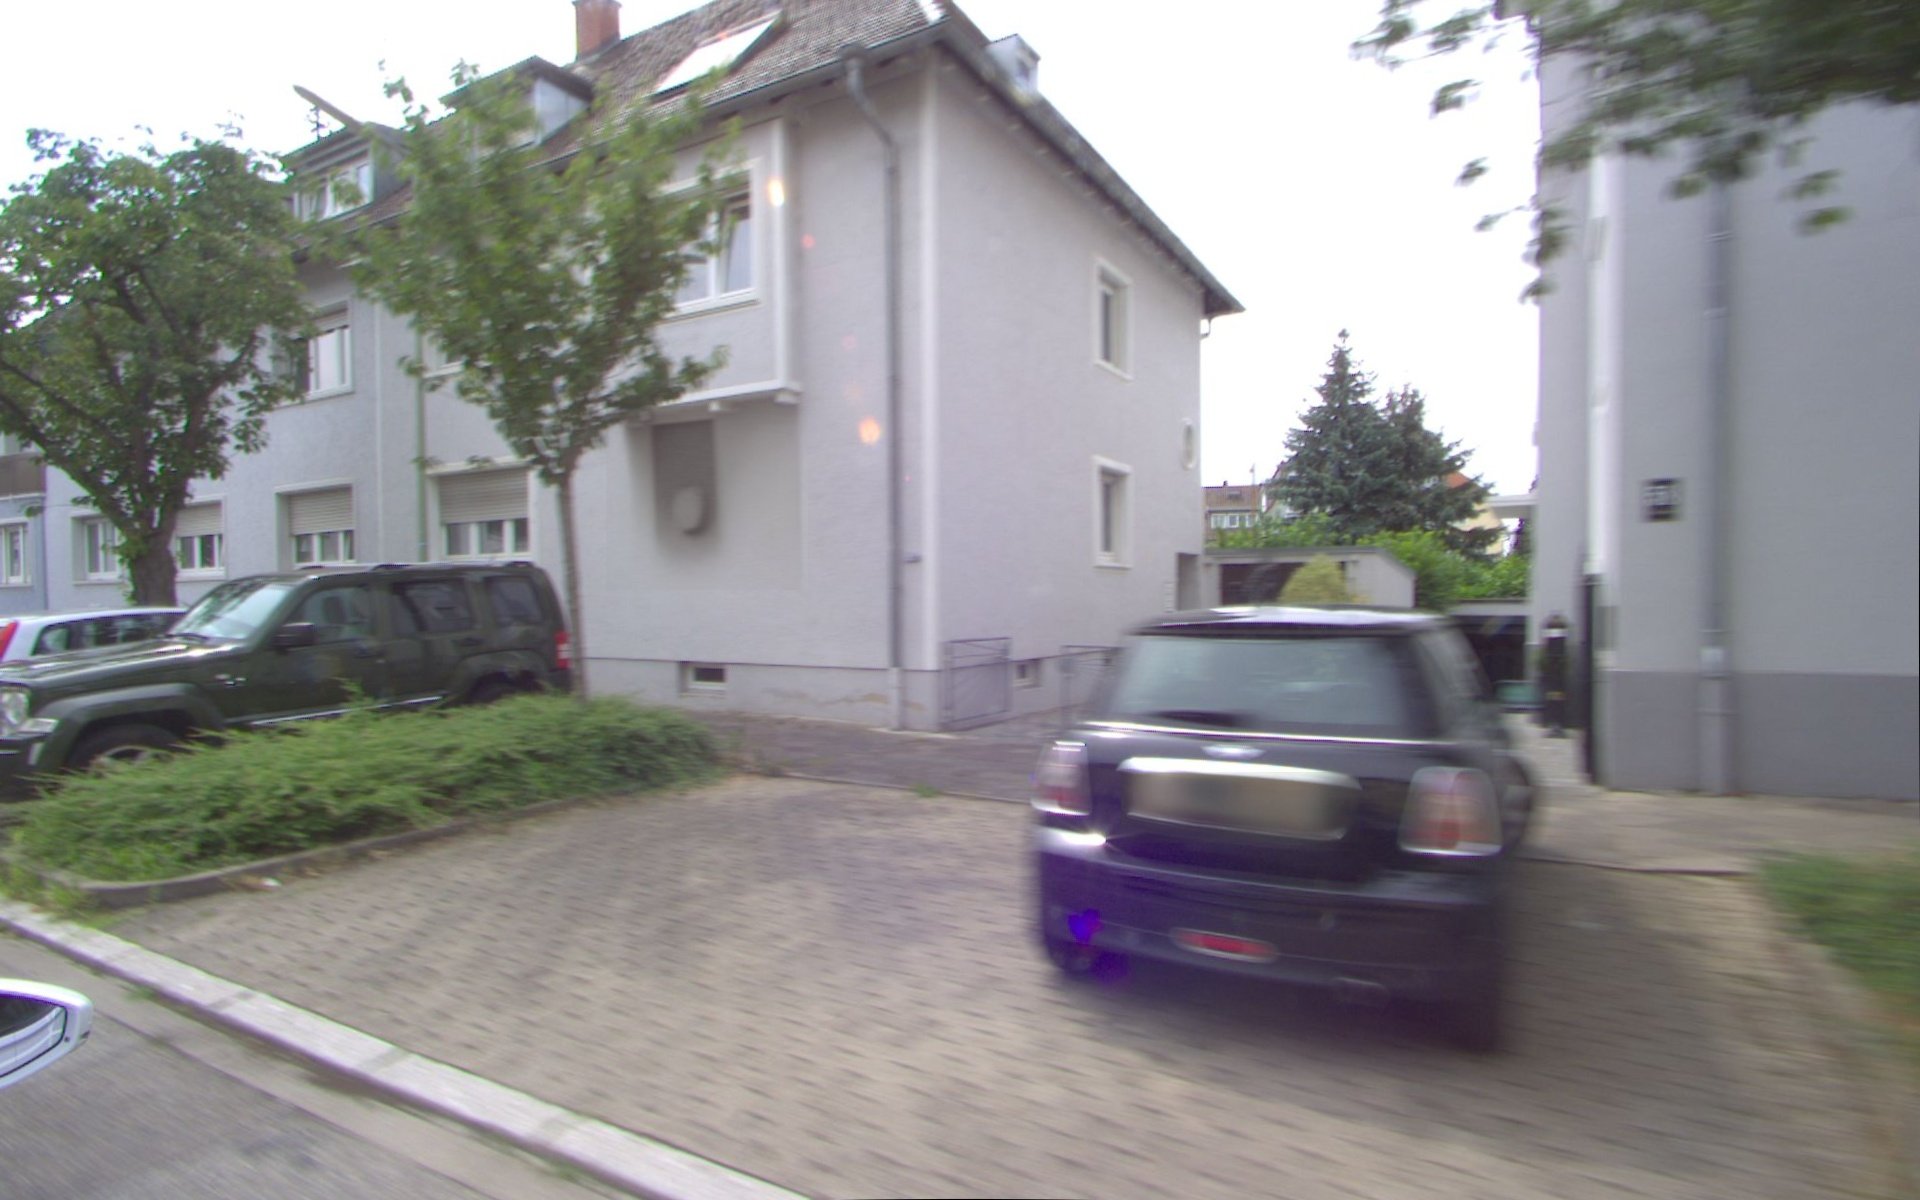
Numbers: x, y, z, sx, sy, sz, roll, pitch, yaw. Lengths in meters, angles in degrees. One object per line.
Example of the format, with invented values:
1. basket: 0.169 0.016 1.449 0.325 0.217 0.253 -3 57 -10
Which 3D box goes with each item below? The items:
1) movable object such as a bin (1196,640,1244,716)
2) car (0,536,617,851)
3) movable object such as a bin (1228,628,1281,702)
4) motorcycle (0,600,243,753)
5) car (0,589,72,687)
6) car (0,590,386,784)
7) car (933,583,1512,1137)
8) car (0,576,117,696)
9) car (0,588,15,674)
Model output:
1. movable object such as a bin: 3.320 0.984 12.769 0.473 0.912 0.512 0 2 31
2. car: -5.314 0.492 8.286 1.768 1.883 4.512 0 2 33
3. movable object such as a bin: 4.242 0.922 14.430 0.599 1.023 0.511 0 2 36
4. motorcycle: -9.394 0.738 10.666 1.015 1.483 2.699 0 0 27
5. car: -16.478 0.649 15.315 1.687 1.529 3.978 0 2 31
6. car: -7.809 0.690 9.588 1.745 1.474 3.621 0 2 27
7. car: 1.560 0.703 4.740 1.782 1.473 3.536 0 2 30
8. car: -14.894 0.552 13.818 1.865 1.687 4.604 0 2 32
9. car: -18.762 0.620 16.727 1.687 1.529 3.978 0 2 31
